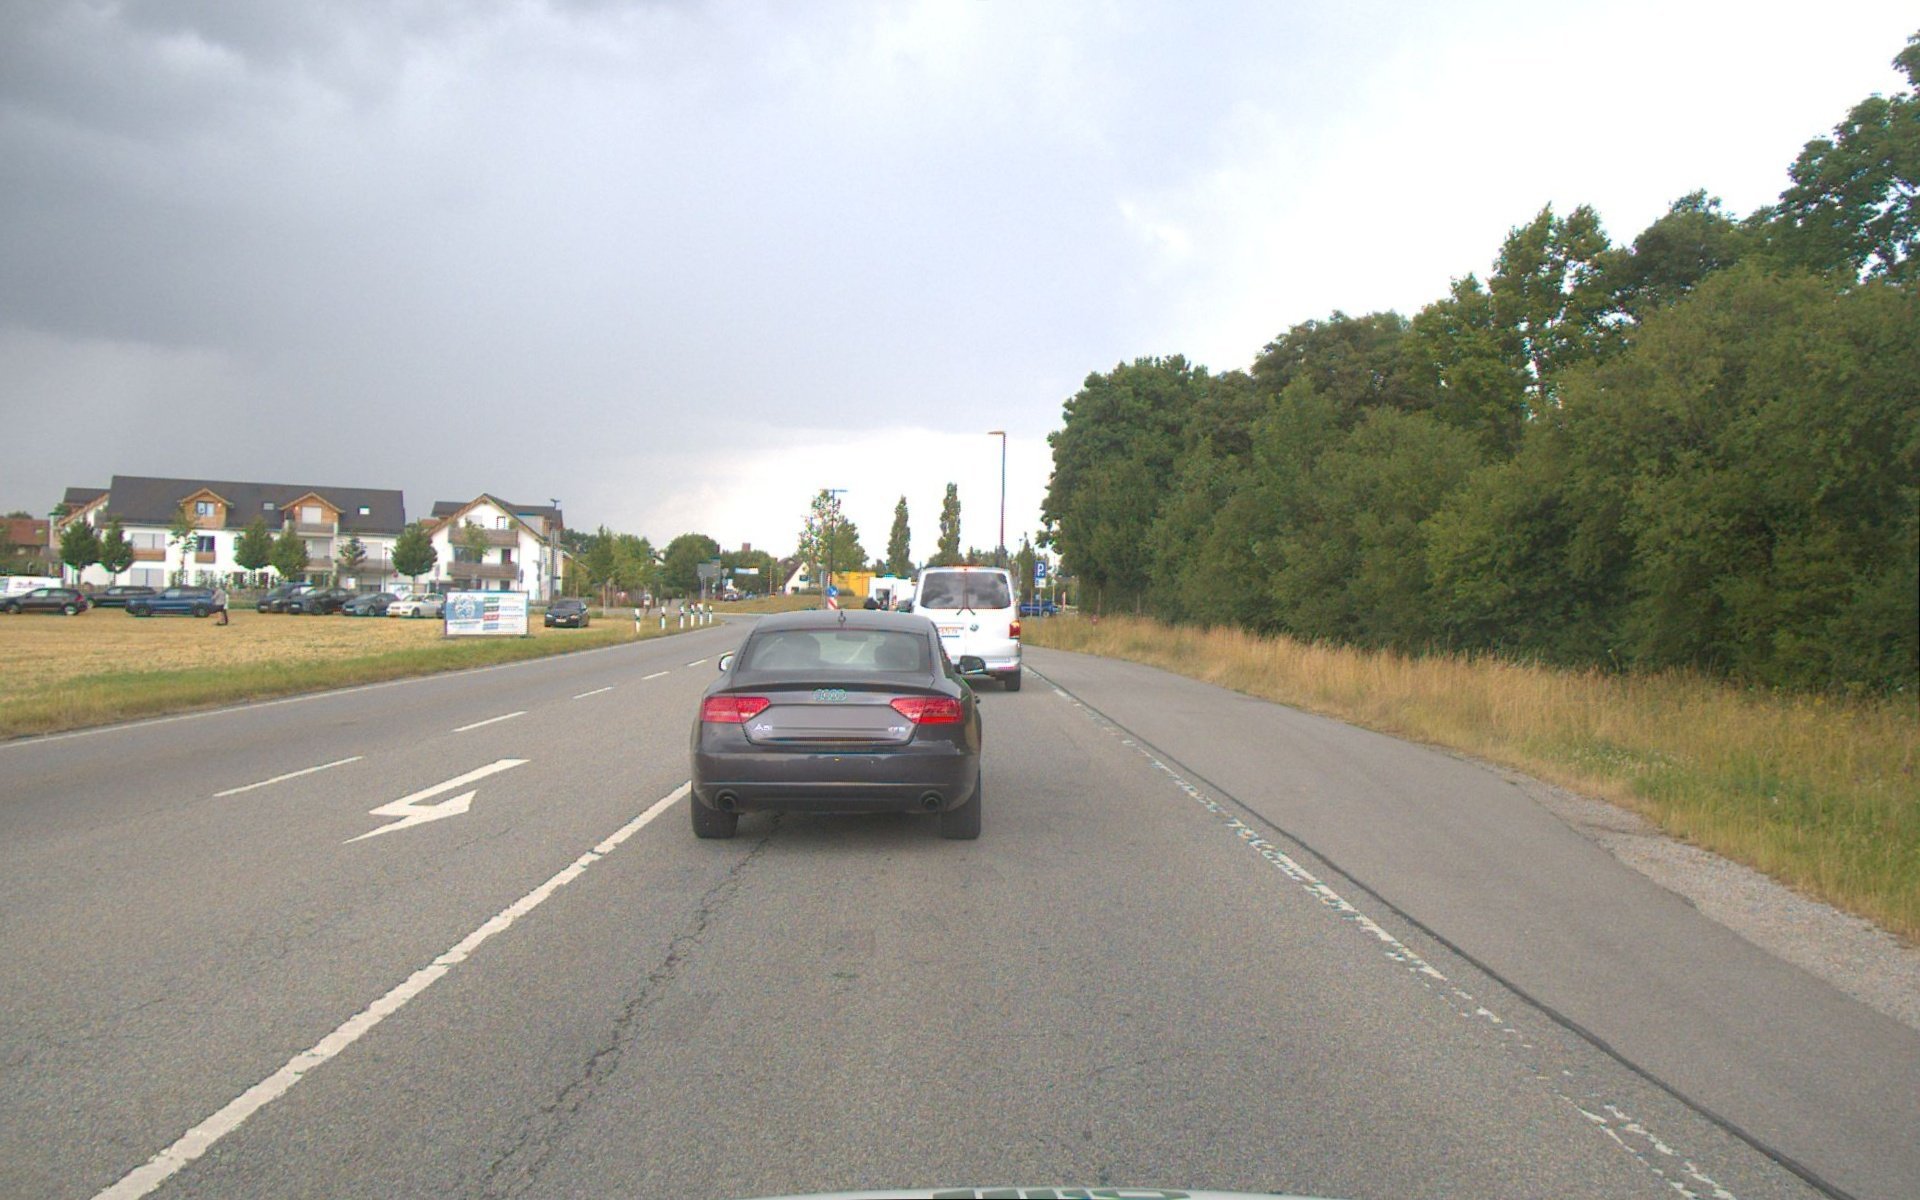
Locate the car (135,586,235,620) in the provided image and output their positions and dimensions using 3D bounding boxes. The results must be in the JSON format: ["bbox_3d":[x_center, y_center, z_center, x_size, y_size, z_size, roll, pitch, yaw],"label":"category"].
[{"bbox_3d":[-41.487,0.170,88.646,4.648,1.727,1.988,1,0,-21],"label":"car"}]

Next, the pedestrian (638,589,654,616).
[{"bbox_3d":[-18.968,0.144,99.895,0.686,1.613,0.658,1,0,16],"label":"pedestrian"}]

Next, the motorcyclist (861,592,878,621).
[{"bbox_3d":[-4.366,0.314,79.776,0.770,1.380,0.853,1,0,-3],"label":"motorcyclist"}]

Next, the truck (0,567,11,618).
[{"bbox_3d":[-50.027,-0.427,81.433,5.375,2.489,2.376,1,0,-24],"label":"truck"}]

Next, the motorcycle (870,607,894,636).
[{"bbox_3d":[-3.104,0.863,66.087,0.901,1.113,2.187,1,0,-2],"label":"motorcycle"}]

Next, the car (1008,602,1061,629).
[{"bbox_3d":[6.059,1.282,134.252,3.904,2.049,2.000,2,0,20],"label":"car"}]

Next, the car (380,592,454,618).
[{"bbox_3d":[-31.348,0.288,95.632,1.952,1.471,4.214,1,0,18],"label":"car"}]

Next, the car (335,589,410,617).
[{"bbox_3d":[-34.060,0.195,96.005,1.952,1.562,4.214,1,0,18],"label":"car"}]

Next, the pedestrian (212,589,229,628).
[{"bbox_3d":[-34.049,0.388,76.168,0.539,1.817,0.676,1,0,-12],"label":"pedestrian"}]

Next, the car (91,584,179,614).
[{"bbox_3d":[-49.968,-0.059,100.288,4.559,1.727,1.988,1,0,-21],"label":"car"}]

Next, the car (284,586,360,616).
[{"bbox_3d":[-37.161,0.061,96.416,1.952,1.657,4.214,1,0,18],"label":"car"}]

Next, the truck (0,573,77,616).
[{"bbox_3d":[-50.767,-0.294,89.002,5.490,2.235,2.588,1,0,-24],"label":"truck"}]

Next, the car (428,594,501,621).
[{"bbox_3d":[-28.505,0.424,95.272,1.952,1.471,4.214,1,0,18],"label":"car"}]

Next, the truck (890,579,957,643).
[{"bbox_3d":[-1.204,0.357,56.424,2.149,2.049,5.084,1,0,0],"label":"truck"}]

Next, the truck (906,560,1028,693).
[{"bbox_3d":[0.095,0.403,28.063,1.865,2.033,4.628,1,0,0],"label":"truck"}]

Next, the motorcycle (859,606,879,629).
[{"bbox_3d":[-4.380,0.827,79.752,0.925,1.037,2.283,1,0,-2],"label":"motorcycle"}]

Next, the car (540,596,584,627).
[{"bbox_3d":[-19.879,0.560,82.793,1.958,1.467,3.989,1,1,-11],"label":"car"}]

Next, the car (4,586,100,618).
[{"bbox_3d":[-47.290,0.113,86.217,4.095,1.545,1.987,1,0,-21],"label":"car"}]

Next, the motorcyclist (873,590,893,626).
[{"bbox_3d":[-3.079,0.304,66.098,0.756,1.407,0.820,1,0,-2],"label":"motorcyclist"}]

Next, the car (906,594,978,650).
[{"bbox_3d":[-0.526,0.602,47.161,1.953,1.511,3.999,1,0,-1],"label":"car"}]

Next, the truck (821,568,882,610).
[{"bbox_3d":[-10.155,-1.050,153.557,3.519,3.641,9.911,2,0,-17],"label":"truck"}]

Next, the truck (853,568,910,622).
[{"bbox_3d":[-4.359,-0.256,90.805,2.576,2.785,5.857,2,0,-7],"label":"truck"}]

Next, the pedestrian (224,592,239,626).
[{"bbox_3d":[-34.015,0.408,77.225,0.580,1.583,0.622,1,0,-20],"label":"pedestrian"}]

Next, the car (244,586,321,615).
[{"bbox_3d":[-40.294,0.011,98.447,1.952,1.657,4.214,1,0,18],"label":"car"}]

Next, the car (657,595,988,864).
[{"bbox_3d":[-0.754,0.718,11.317,1.836,1.479,4.177,0,0,0],"label":"car"}]
